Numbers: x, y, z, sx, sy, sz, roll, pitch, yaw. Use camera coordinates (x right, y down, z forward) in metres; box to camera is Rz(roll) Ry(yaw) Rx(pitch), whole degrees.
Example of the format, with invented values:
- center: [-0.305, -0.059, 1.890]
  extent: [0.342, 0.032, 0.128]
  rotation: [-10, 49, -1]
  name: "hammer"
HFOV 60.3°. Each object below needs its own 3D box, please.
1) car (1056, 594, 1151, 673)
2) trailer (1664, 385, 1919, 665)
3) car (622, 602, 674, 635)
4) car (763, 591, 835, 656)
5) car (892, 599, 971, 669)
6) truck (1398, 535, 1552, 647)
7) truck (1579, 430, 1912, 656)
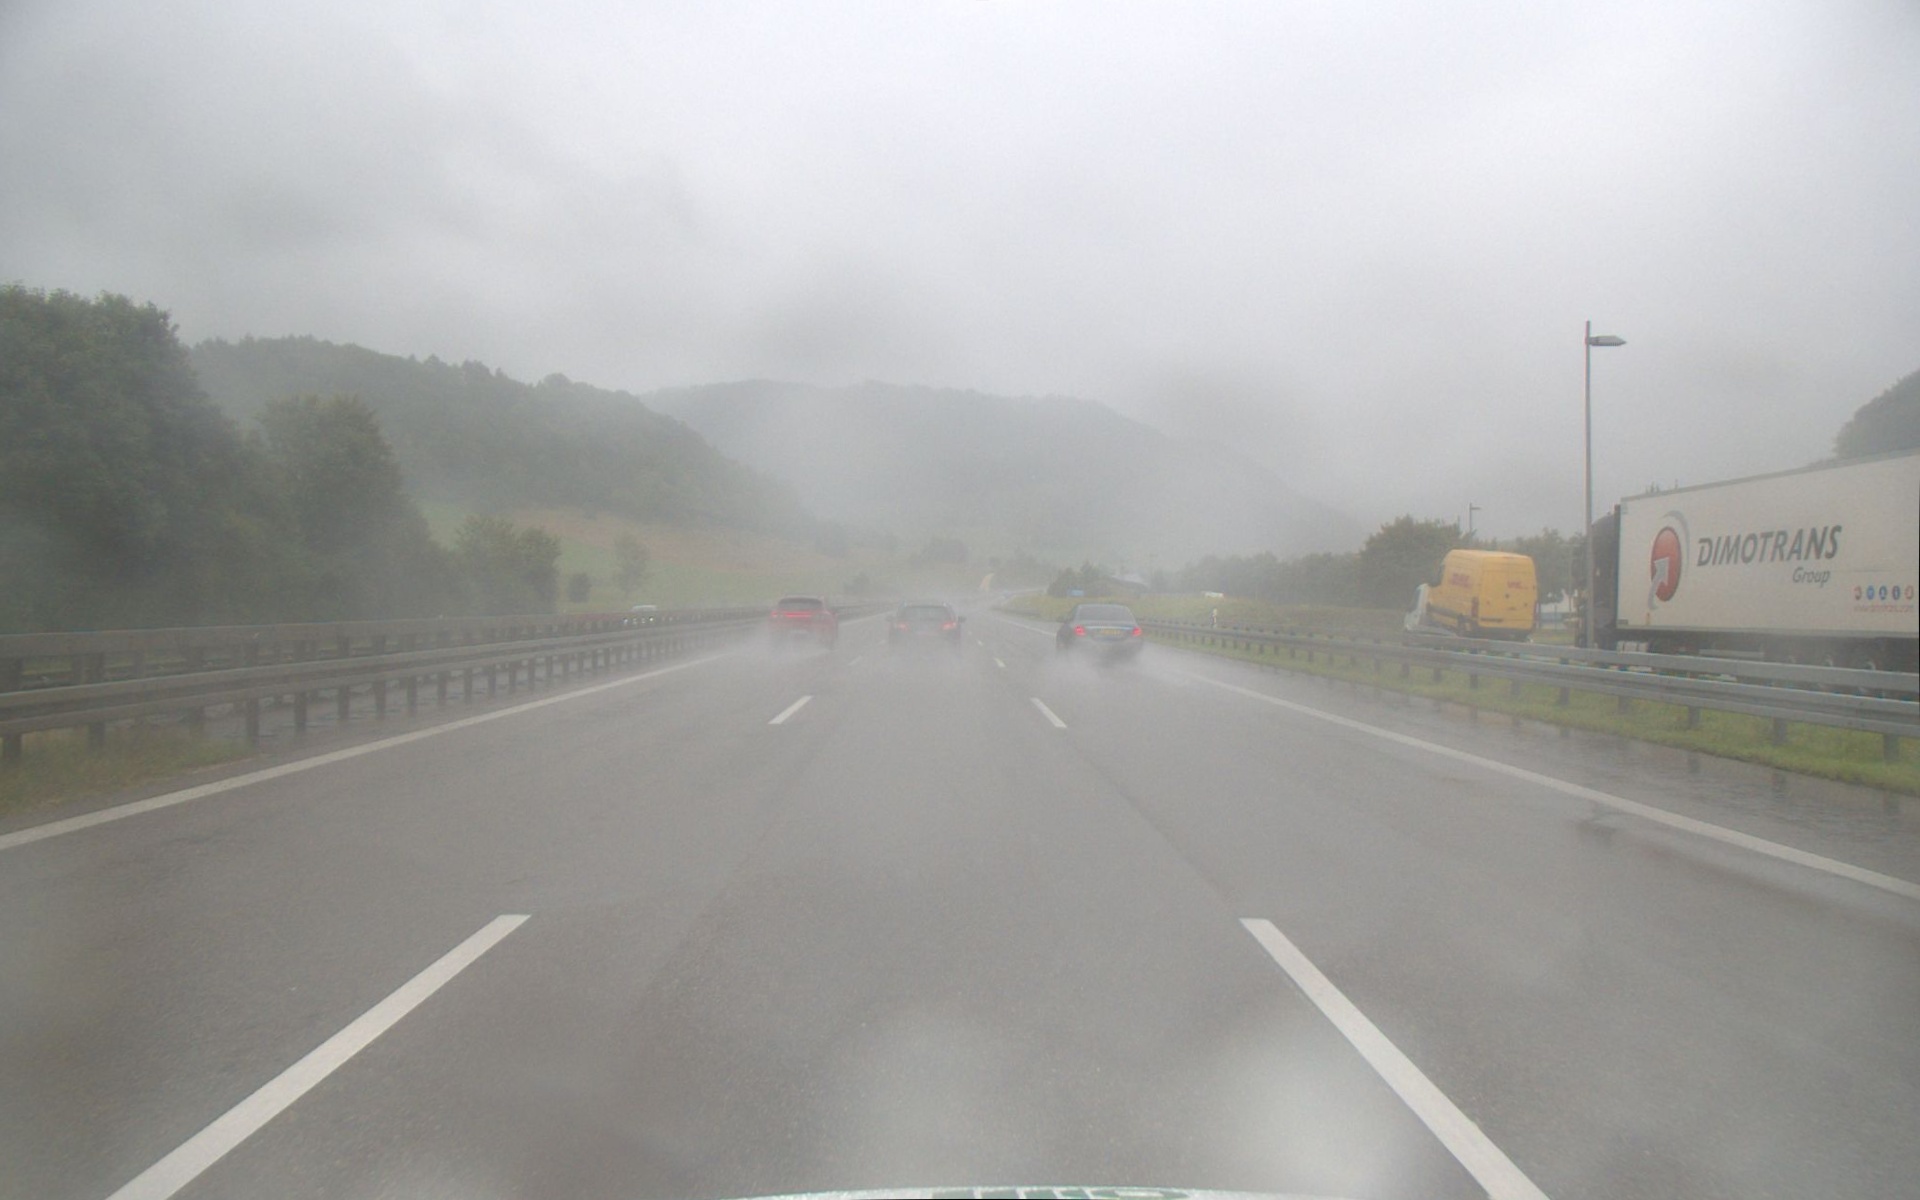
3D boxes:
- center: [3.426, 0.769, 40.066]
  extent: [1.931, 1.791, 4.000]
  rotation: [0, 0, 0]
  name: "car"
- center: [16.594, -1.118, 29.031]
  extent: [3.444, 4.336, 11.920]
  rotation: [1, 0, 0]
  name: "trailer"
- center: [-17.402, 1.013, 92.511]
  extent: [1.953, 1.722, 5.303]
  rotation: [-1, 0, -1]
  name: "car"
- center: [-4.734, 0.663, 49.104]
  extent: [1.846, 1.847, 3.999]
  rotation: [0, 0, -1]
  name: "car"
- center: [-0.679, 0.802, 40.798]
  extent: [1.821, 1.617, 3.999]
  rotation: [1, 0, 0]
  name: "car"
- center: [16.109, -0.229, 52.363]
  extent: [2.244, 3.202, 8.864]
  rotation: [1, 0, 1]
  name: "truck"
- center: [16.605, -1.086, 35.797]
  extent: [3.455, 4.294, 7.815]
  rotation: [1, 0, 0]
  name: "truck"
